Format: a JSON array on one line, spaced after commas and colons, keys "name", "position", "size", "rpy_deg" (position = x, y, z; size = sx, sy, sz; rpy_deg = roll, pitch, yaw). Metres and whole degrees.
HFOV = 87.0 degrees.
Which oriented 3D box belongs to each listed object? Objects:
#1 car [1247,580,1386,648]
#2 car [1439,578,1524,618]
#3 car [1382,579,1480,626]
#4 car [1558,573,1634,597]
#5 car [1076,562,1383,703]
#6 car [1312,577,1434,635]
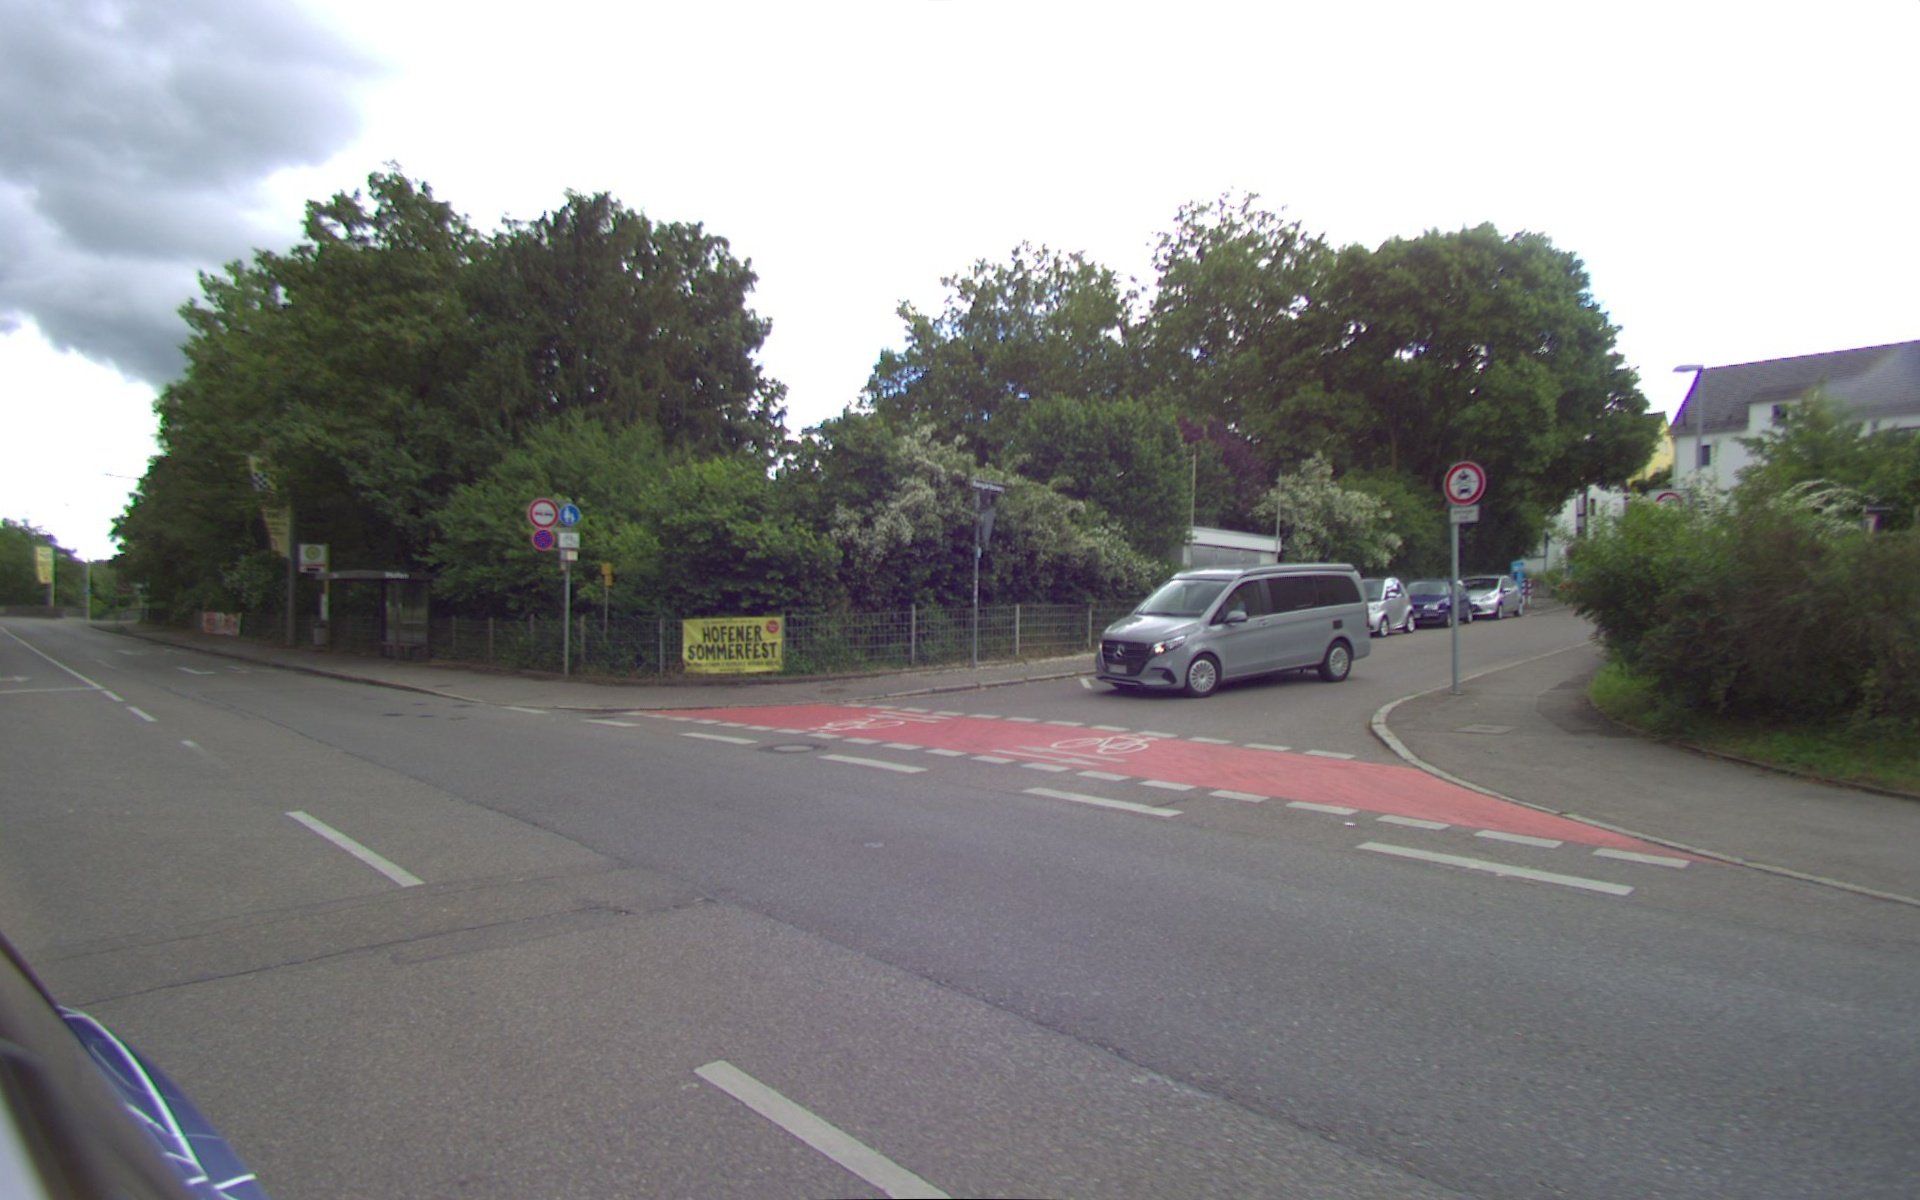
[{"name": "car", "position": [8.347, 0.283, 23.520], "size": [1.604, 1.453, 3.853], "rpy_deg": [-1, 0, 43]}, {"name": "car", "position": [17.437, -0.069, 33.772], "size": [1.661, 1.266, 3.353], "rpy_deg": [-1, 0, 43]}, {"name": "car", "position": [14.049, 0.062, 30.119], "size": [1.689, 1.318, 3.353], "rpy_deg": [-1, 0, 43]}, {"name": "car", "position": [35.894, -0.826, 57.146], "size": [3.401, 1.266, 1.638], "rpy_deg": [-1, 0, 42]}, {"name": "car", "position": [4.498, 0.419, 16.530], "size": [5.069, 1.942, 1.957], "rpy_deg": [-2, 0, -34]}, {"name": "car", "position": [11.246, 0.126, 27.439], "size": [1.801, 1.453, 3.853], "rpy_deg": [-1, 0, 43]}]
